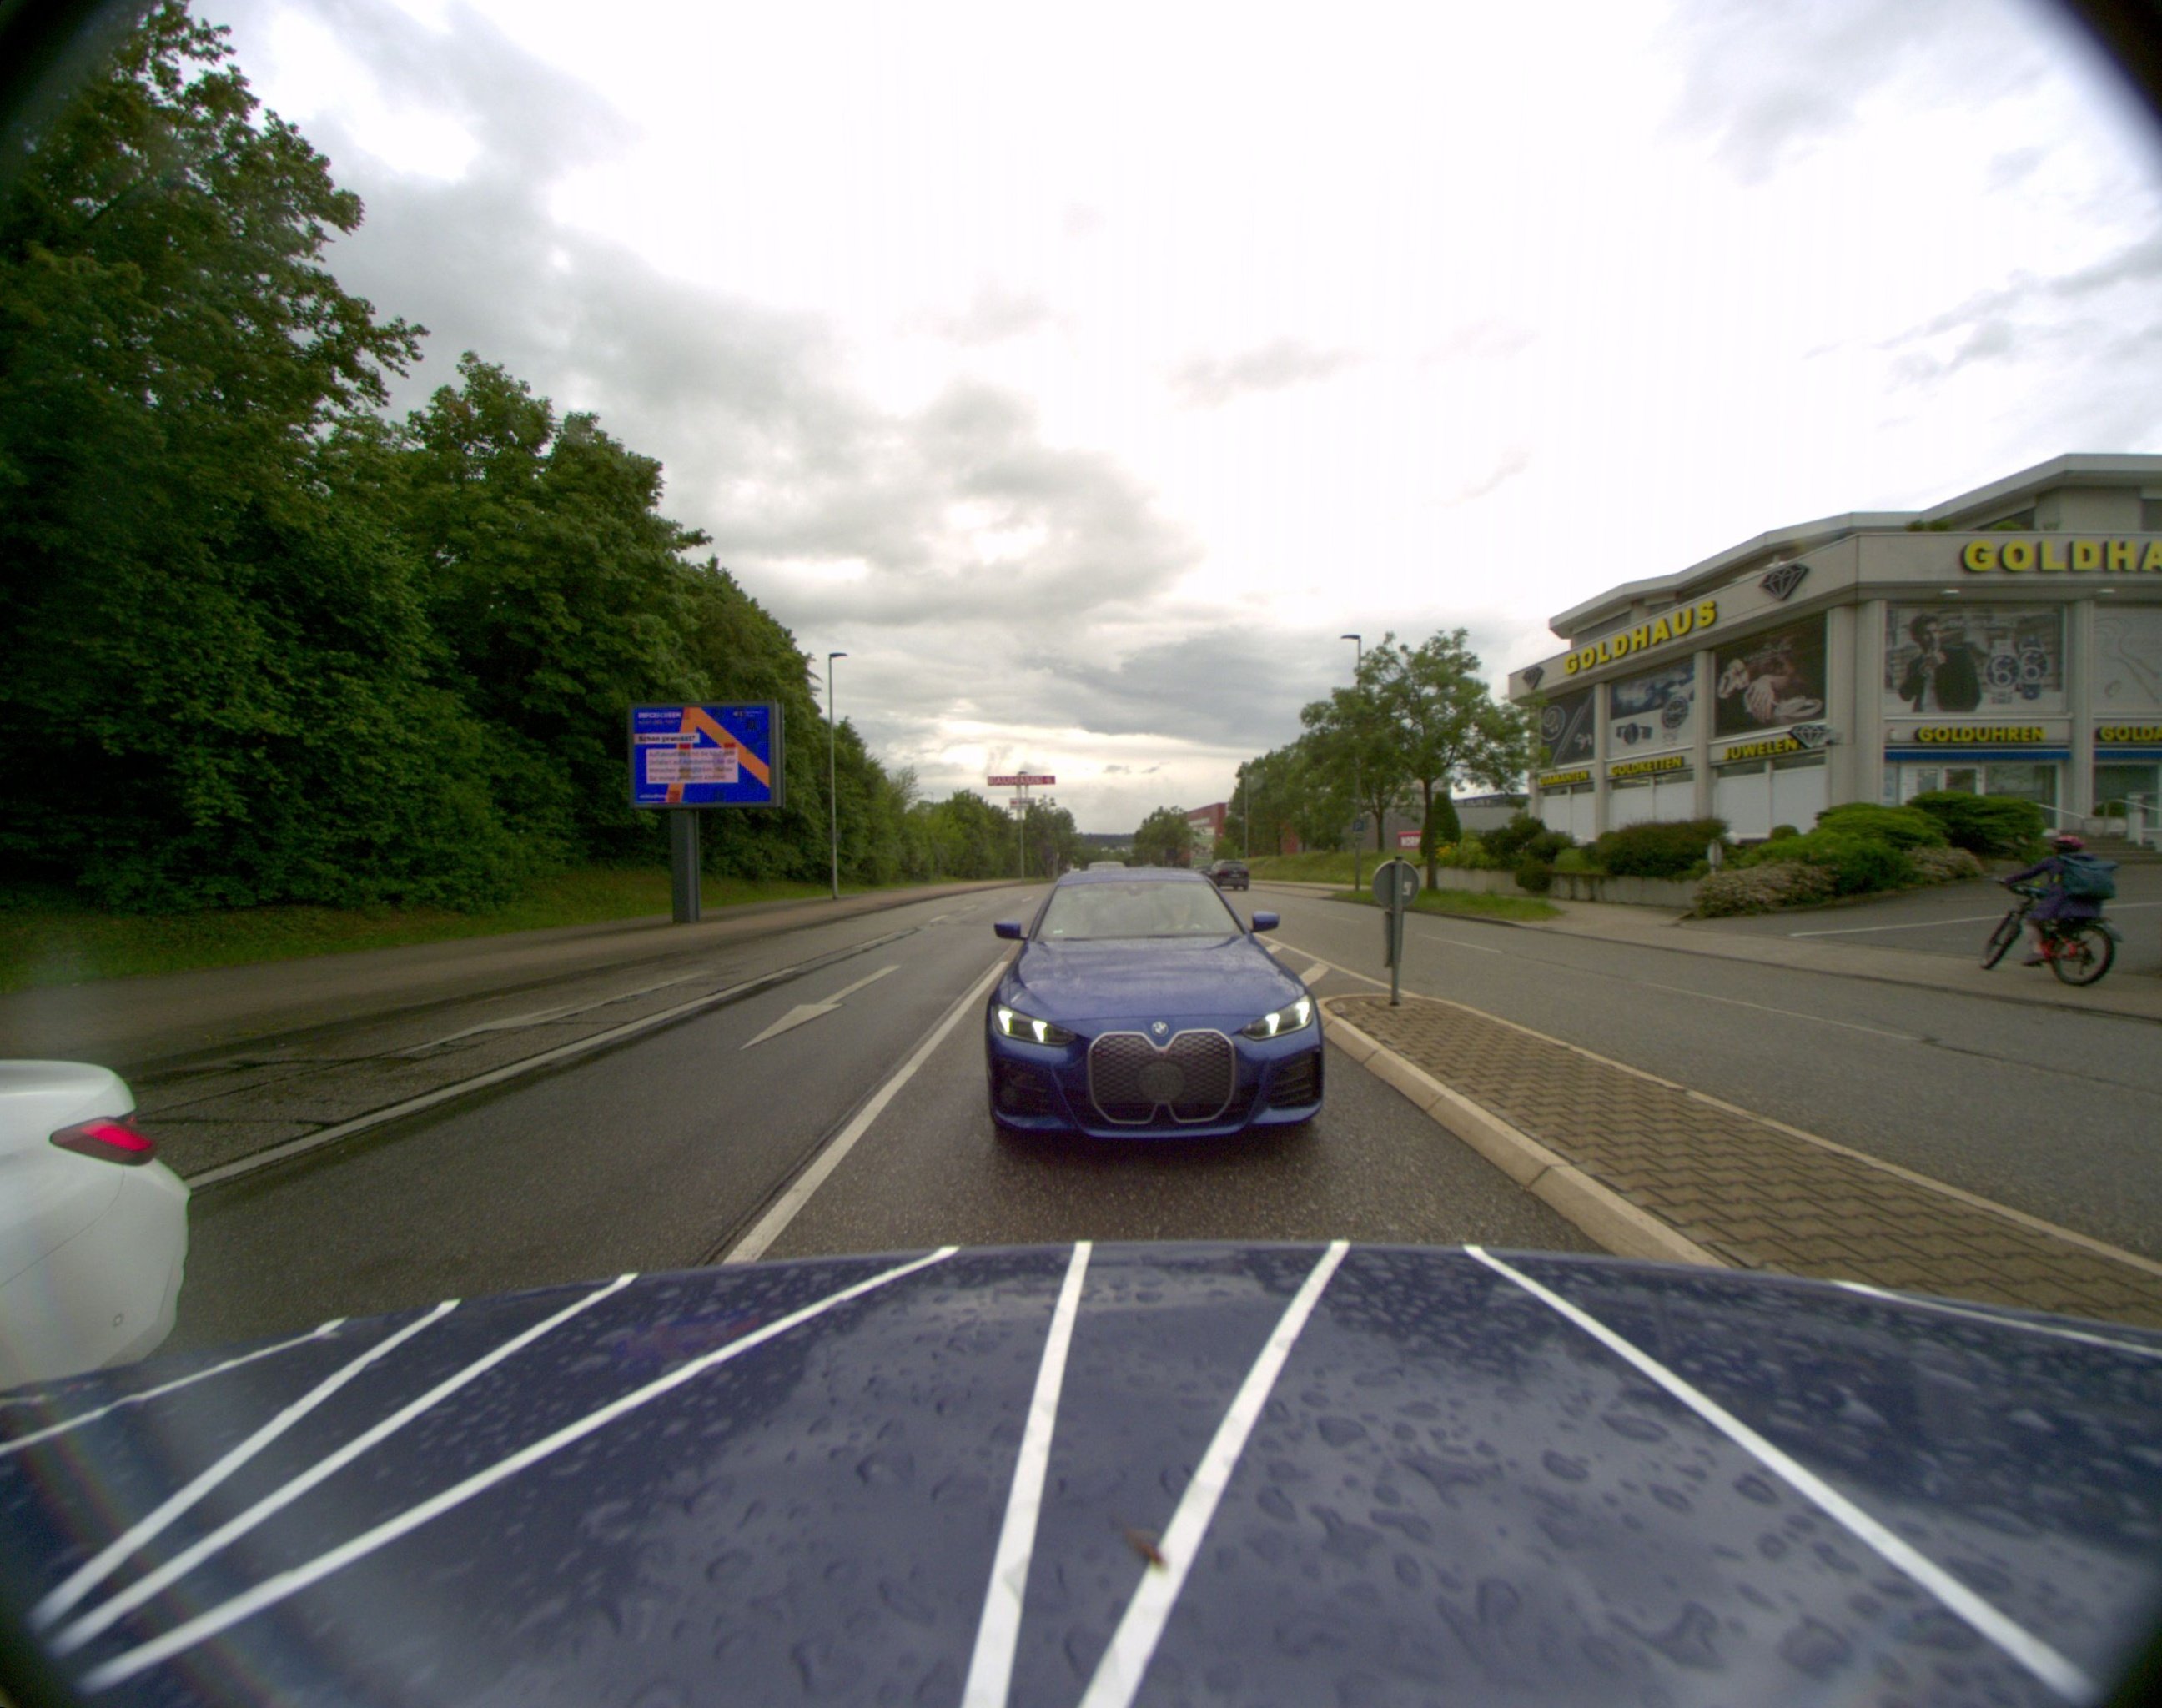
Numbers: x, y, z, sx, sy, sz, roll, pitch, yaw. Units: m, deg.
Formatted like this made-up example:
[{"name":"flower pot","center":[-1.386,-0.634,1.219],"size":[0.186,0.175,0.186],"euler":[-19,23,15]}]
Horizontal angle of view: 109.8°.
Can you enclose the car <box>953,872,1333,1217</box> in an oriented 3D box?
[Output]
[{"name":"car","center":[0.274,0.969,5.942],"size":[1.784,1.448,4.596],"euler":[-2,1,-1]}]

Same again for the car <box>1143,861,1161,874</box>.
[{"name":"car","center":[8.793,1.723,94.244],"size":[1.998,1.586,4.001],"euler":[0,-2,1]}]

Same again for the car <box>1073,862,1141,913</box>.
[{"name":"car","center":[0.860,1.038,25.003],"size":[1.998,1.455,4.368],"euler":[-2,0,2]}]

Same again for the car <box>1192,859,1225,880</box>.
[{"name":"car","center":[11.647,1.448,69.716],"size":[2.350,1.879,4.546],"euler":[0,-2,1]}]

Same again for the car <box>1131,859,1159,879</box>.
[{"name":"car","center":[5.192,1.225,61.883],"size":[1.998,1.586,4.001],"euler":[0,-2,1]}]

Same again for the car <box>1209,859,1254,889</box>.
[{"name":"car","center":[8.408,1.118,42.715],"size":[1.998,1.586,4.002],"euler":[0,-2,4]}]

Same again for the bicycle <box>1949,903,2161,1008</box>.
[{"name":"bicycle","center":[11.459,1.124,8.845],"size":[0.908,0.810,2.296],"euler":[-6,0,26]}]

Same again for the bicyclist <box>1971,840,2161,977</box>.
[{"name":"bicyclist","center":[11.415,0.613,8.868],"size":[0.908,1.434,1.029],"euler":[-6,0,26]}]

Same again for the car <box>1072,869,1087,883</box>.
[{"name":"car","center":[-0.252,3.058,105.197],"size":[1.998,1.717,4.317],"euler":[-1,0,1]}]
